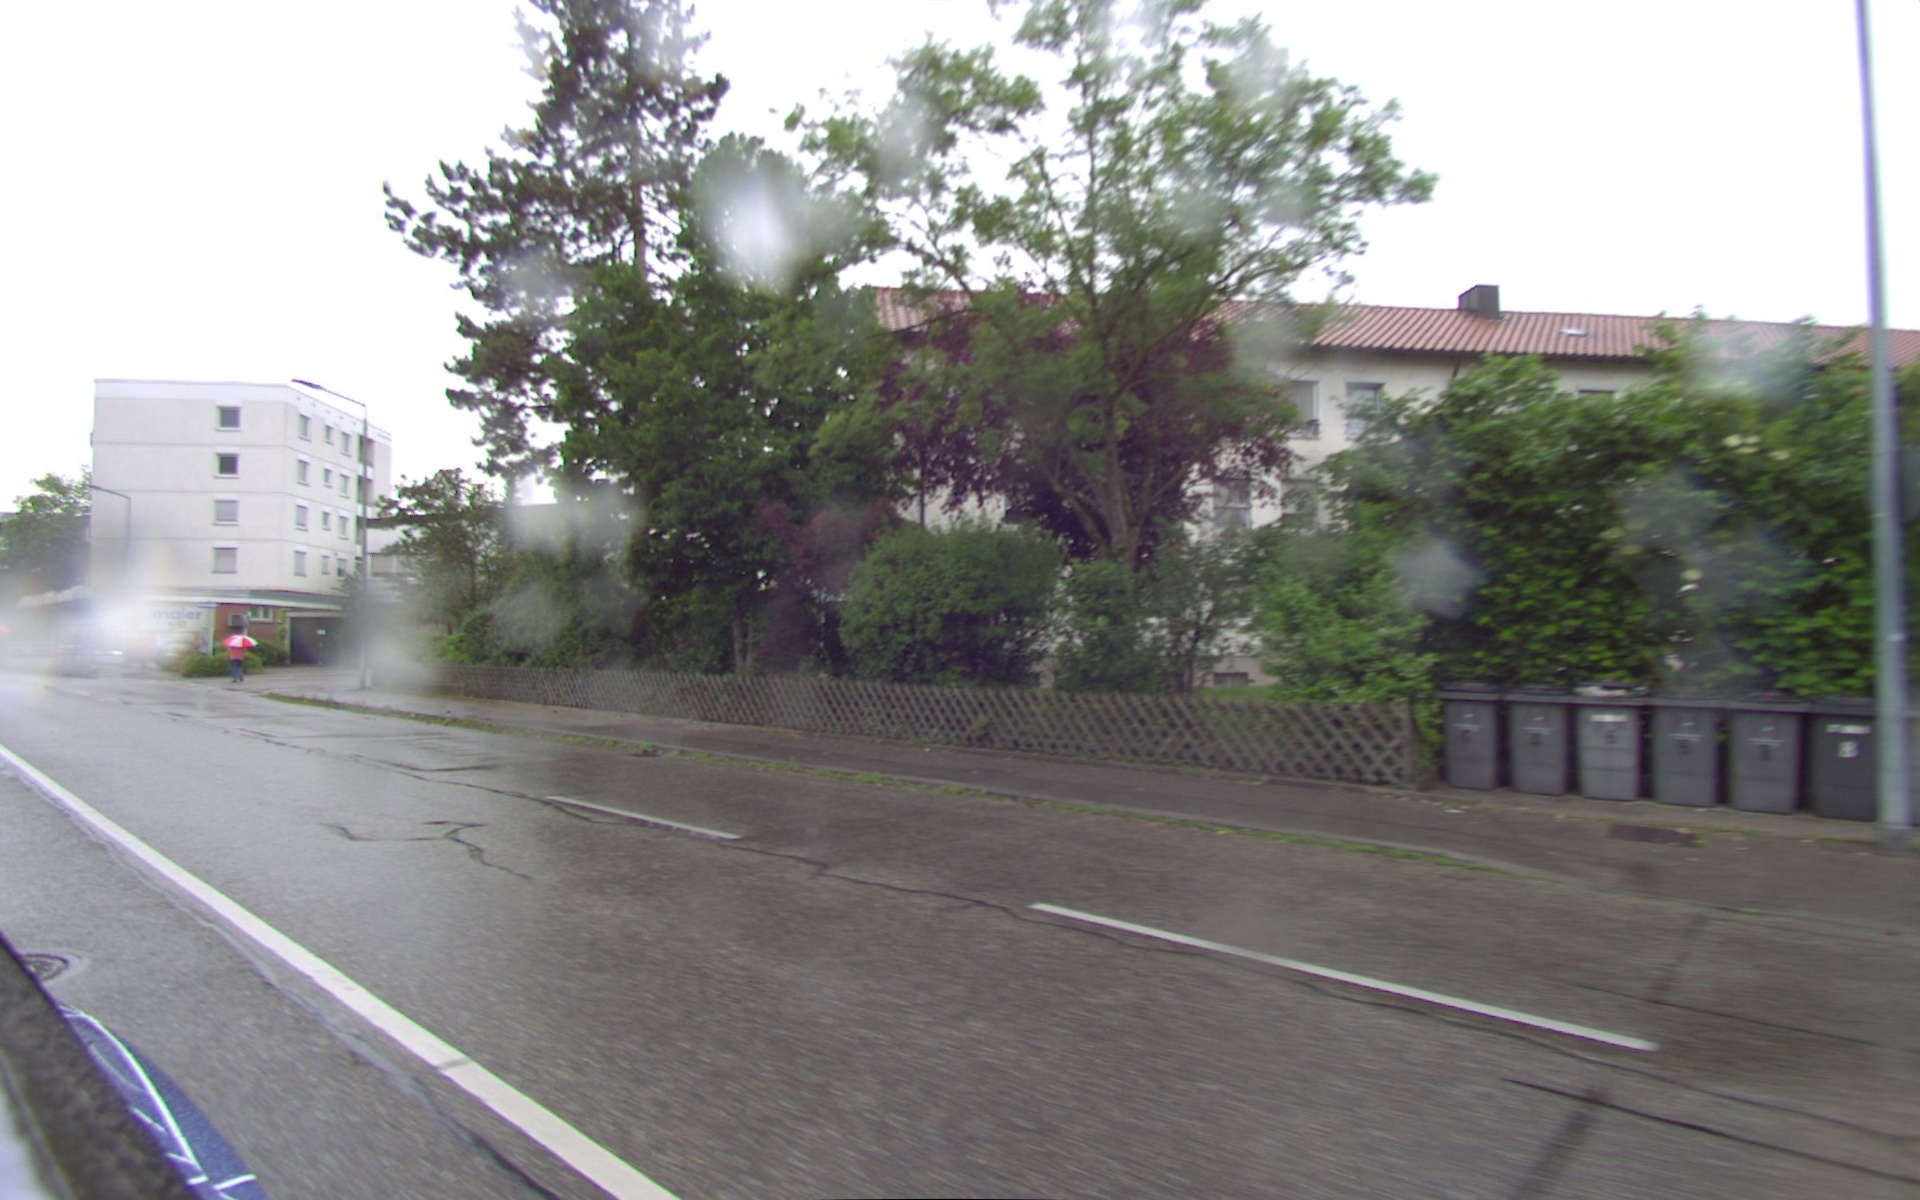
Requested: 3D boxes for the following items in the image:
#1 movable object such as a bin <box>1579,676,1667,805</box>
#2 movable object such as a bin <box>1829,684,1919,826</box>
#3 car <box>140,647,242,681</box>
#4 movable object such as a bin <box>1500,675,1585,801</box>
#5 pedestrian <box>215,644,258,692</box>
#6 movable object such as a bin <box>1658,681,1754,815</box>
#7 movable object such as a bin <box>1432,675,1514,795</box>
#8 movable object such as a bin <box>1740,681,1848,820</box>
[{"bbox_3d":[6.258,1.298,9.551,0.600,1.127,0.593,-2,-3,40],"label":"movable object such as a bin"},{"bbox_3d":[7.833,1.287,8.553,0.599,1.127,0.595,-2,-3,30],"label":"movable object such as a bin"},{"bbox_3d":[-37.214,3.047,49.126,1.969,1.558,4.478,0,-2,-7],"label":"car"},{"bbox_3d":[5.648,1.311,9.808,0.600,1.127,0.593,-2,-3,40],"label":"movable object such as a bin"},{"bbox_3d":[-24.980,2.327,34.952,1.100,1.619,0.862,-1,-2,34],"label":"pedestrian"},{"bbox_3d":[6.774,1.320,9.217,0.599,1.127,0.595,-2,-3,30],"label":"movable object such as a bin"},{"bbox_3d":[5.179,1.335,10.216,0.600,1.127,0.593,-2,-3,40],"label":"movable object such as a bin"},{"bbox_3d":[7.304,1.293,8.889,0.599,1.127,0.595,-2,-3,30],"label":"movable object such as a bin"}]
